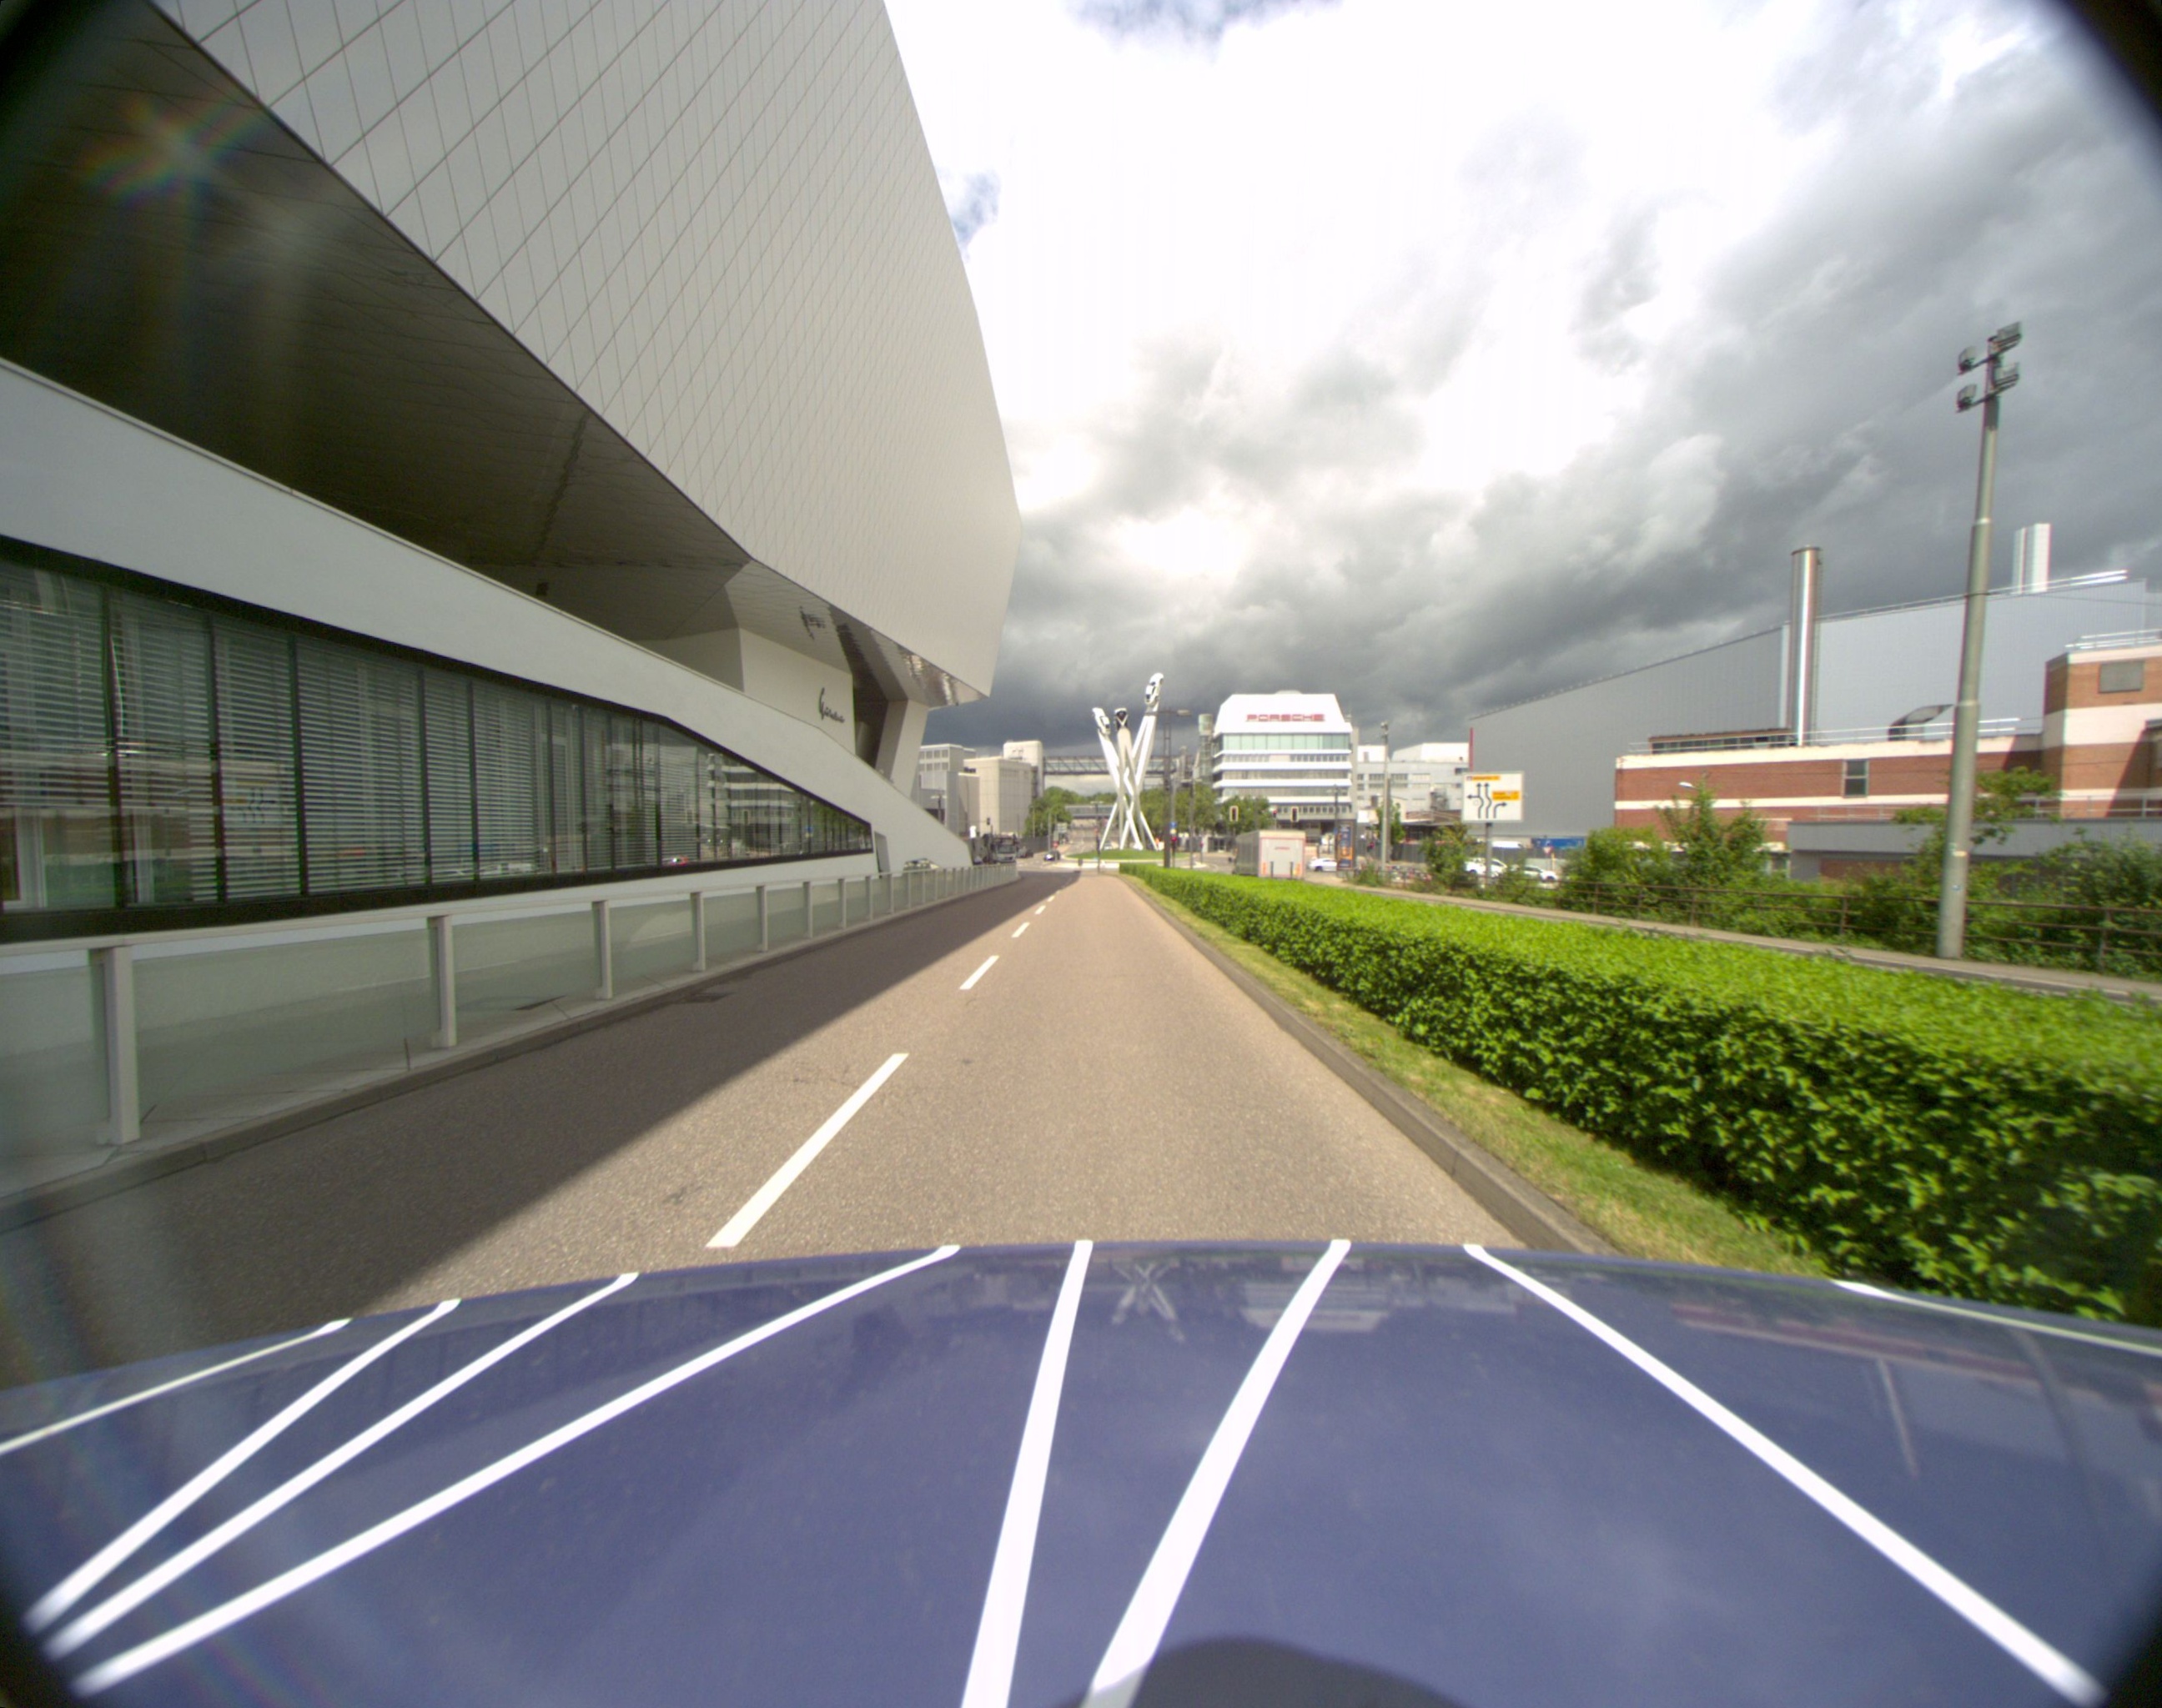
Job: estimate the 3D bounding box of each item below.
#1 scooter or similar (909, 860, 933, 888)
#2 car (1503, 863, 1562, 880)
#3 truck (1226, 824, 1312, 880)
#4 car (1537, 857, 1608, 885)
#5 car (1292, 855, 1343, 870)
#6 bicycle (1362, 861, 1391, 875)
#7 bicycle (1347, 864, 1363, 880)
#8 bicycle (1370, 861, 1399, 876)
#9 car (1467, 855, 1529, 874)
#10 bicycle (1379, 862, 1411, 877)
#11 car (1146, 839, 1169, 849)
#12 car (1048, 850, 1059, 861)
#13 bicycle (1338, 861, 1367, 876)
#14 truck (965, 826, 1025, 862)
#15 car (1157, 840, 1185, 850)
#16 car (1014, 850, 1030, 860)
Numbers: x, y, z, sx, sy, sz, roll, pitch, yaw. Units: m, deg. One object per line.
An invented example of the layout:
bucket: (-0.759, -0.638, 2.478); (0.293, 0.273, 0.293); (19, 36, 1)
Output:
scooter or similar: (-7.611, 0.931, 36.316); (0.708, 1.236, 1.952); (-1, 1, 0)
car: (39.917, 1.544, 67.290); (4.182, 1.362, 1.622); (0, 1, 9)
truck: (10.517, 0.015, 43.594); (2.862, 2.840, 9.380); (0, -1, 2)
car: (34.053, 1.146, 52.741); (3.989, 1.850, 1.754); (0, 1, 29)
car: (24.261, 0.902, 78.066); (4.777, 1.477, 2.051); (0, 1, 8)
bicycle: (20.587, 0.981, 52.920); (1.952, 0.983, 0.620); (0, 0, -23)
bicycle: (17.198, 1.130, 47.676); (0.520, 0.983, 1.951); (0, 0, 7)
bicycle: (20.845, 1.000, 52.206); (1.952, 0.983, 0.620); (0, 0, -23)
car: (40.498, 0.999, 73.930); (4.859, 1.812, 2.002); (0, 1, 12)
bicycle: (21.083, 1.027, 51.082); (1.950, 0.983, 0.621); (0, 0, -8)
car: (14.428, -1.919, 143.483); (2.003, 1.819, 4.390); (-1, 1, -32)
car: (-4.131, 0.238, 114.413); (1.586, 1.630, 3.803); (0, 0, 1)
bicycle: (20.930, 1.123, 58.644); (2.041, 1.161, 0.621); (0, 1, 10)
truck: (-9.459, -1.050, 82.163); (2.849, 3.669, 10.728); (-1, 1, -27)
car: (14.820, -1.530, 125.221); (4.184, 1.686, 1.958); (1, 1, 44)
car: (-9.412, 0.199, 121.129); (1.830, 1.555, 4.001); (0, 1, 5)
